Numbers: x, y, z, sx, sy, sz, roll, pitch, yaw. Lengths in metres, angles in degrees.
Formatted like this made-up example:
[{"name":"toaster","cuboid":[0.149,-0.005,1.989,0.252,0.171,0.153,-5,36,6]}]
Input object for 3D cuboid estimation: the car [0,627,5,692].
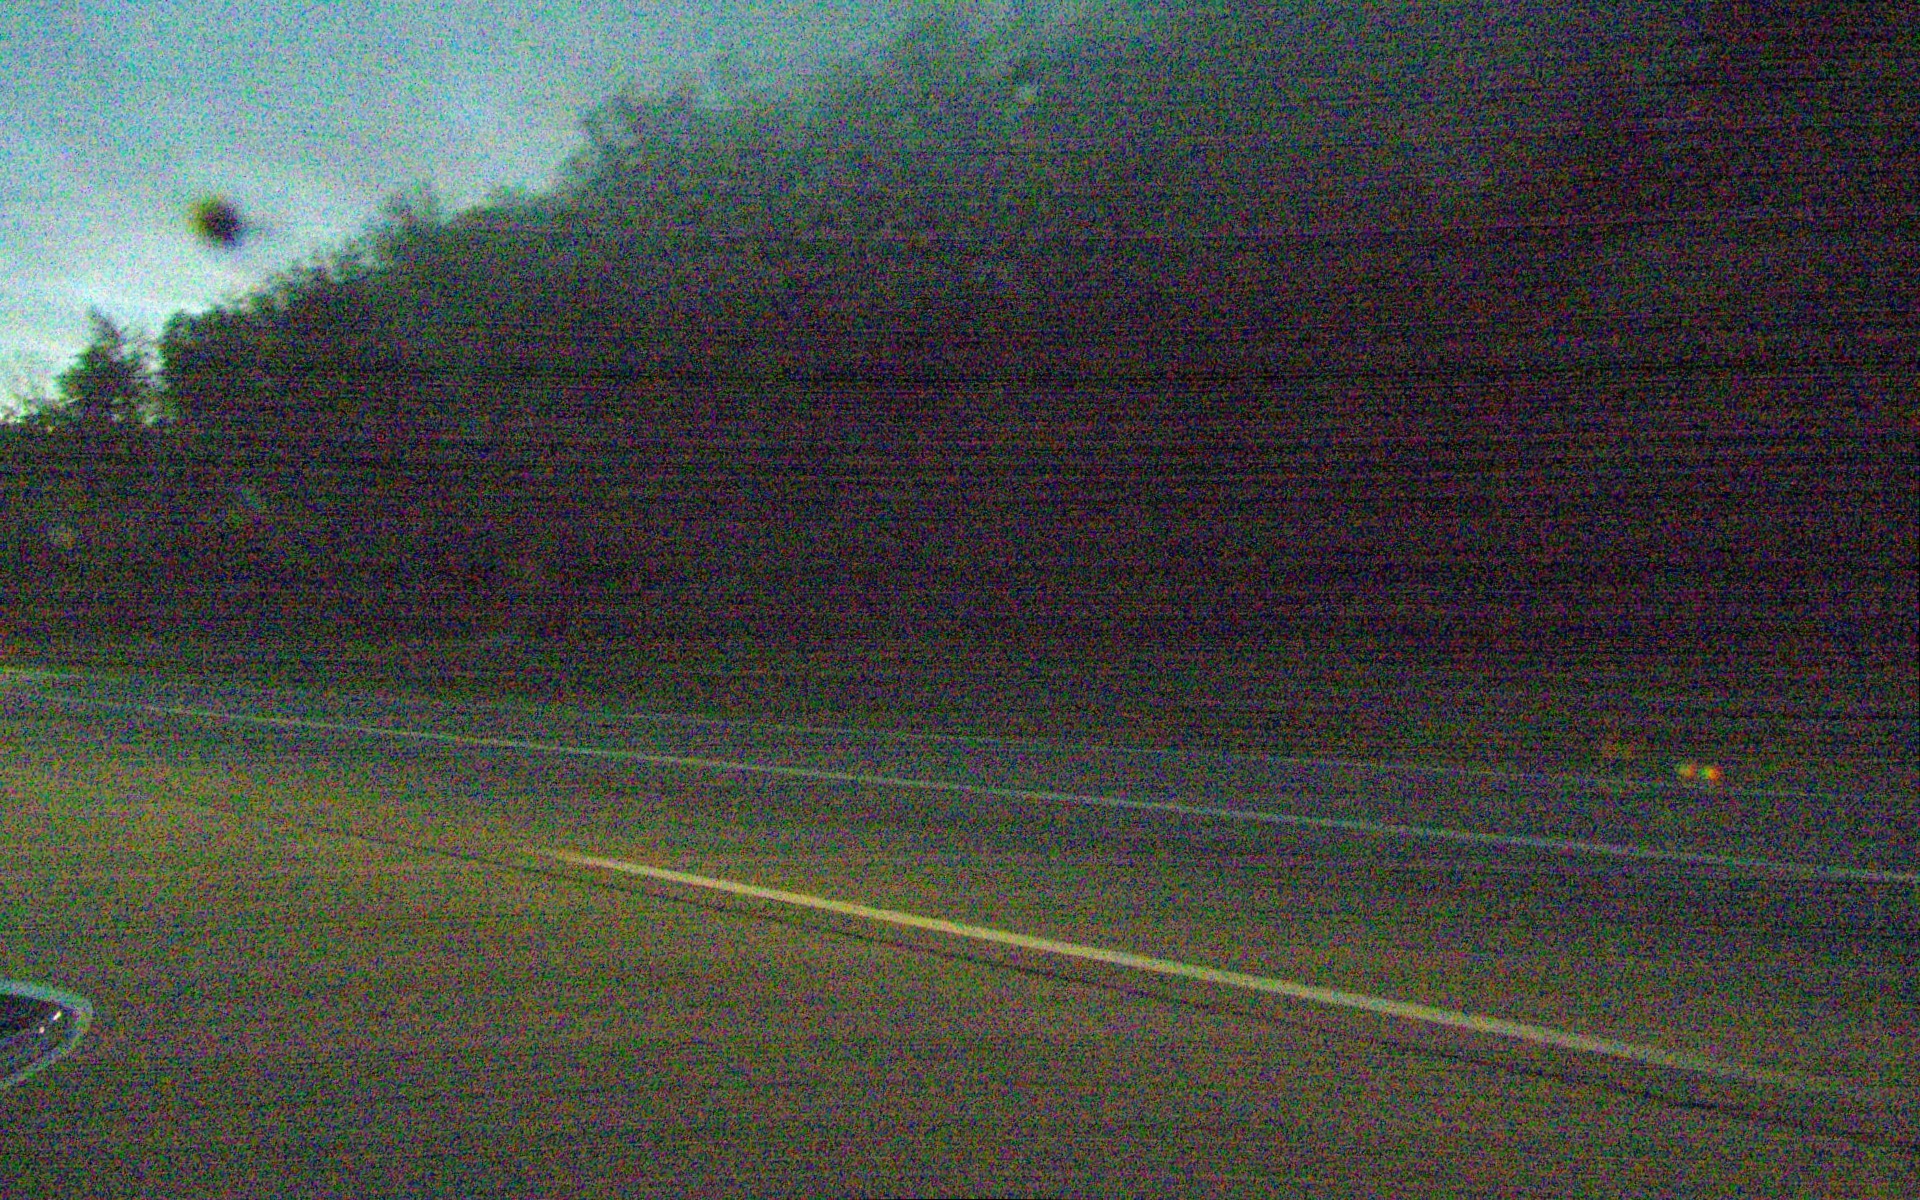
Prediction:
[{"name":"car","cuboid":[-23.629,1.317,22.769,4.520,1.454,1.861,0,-1,34]}]
